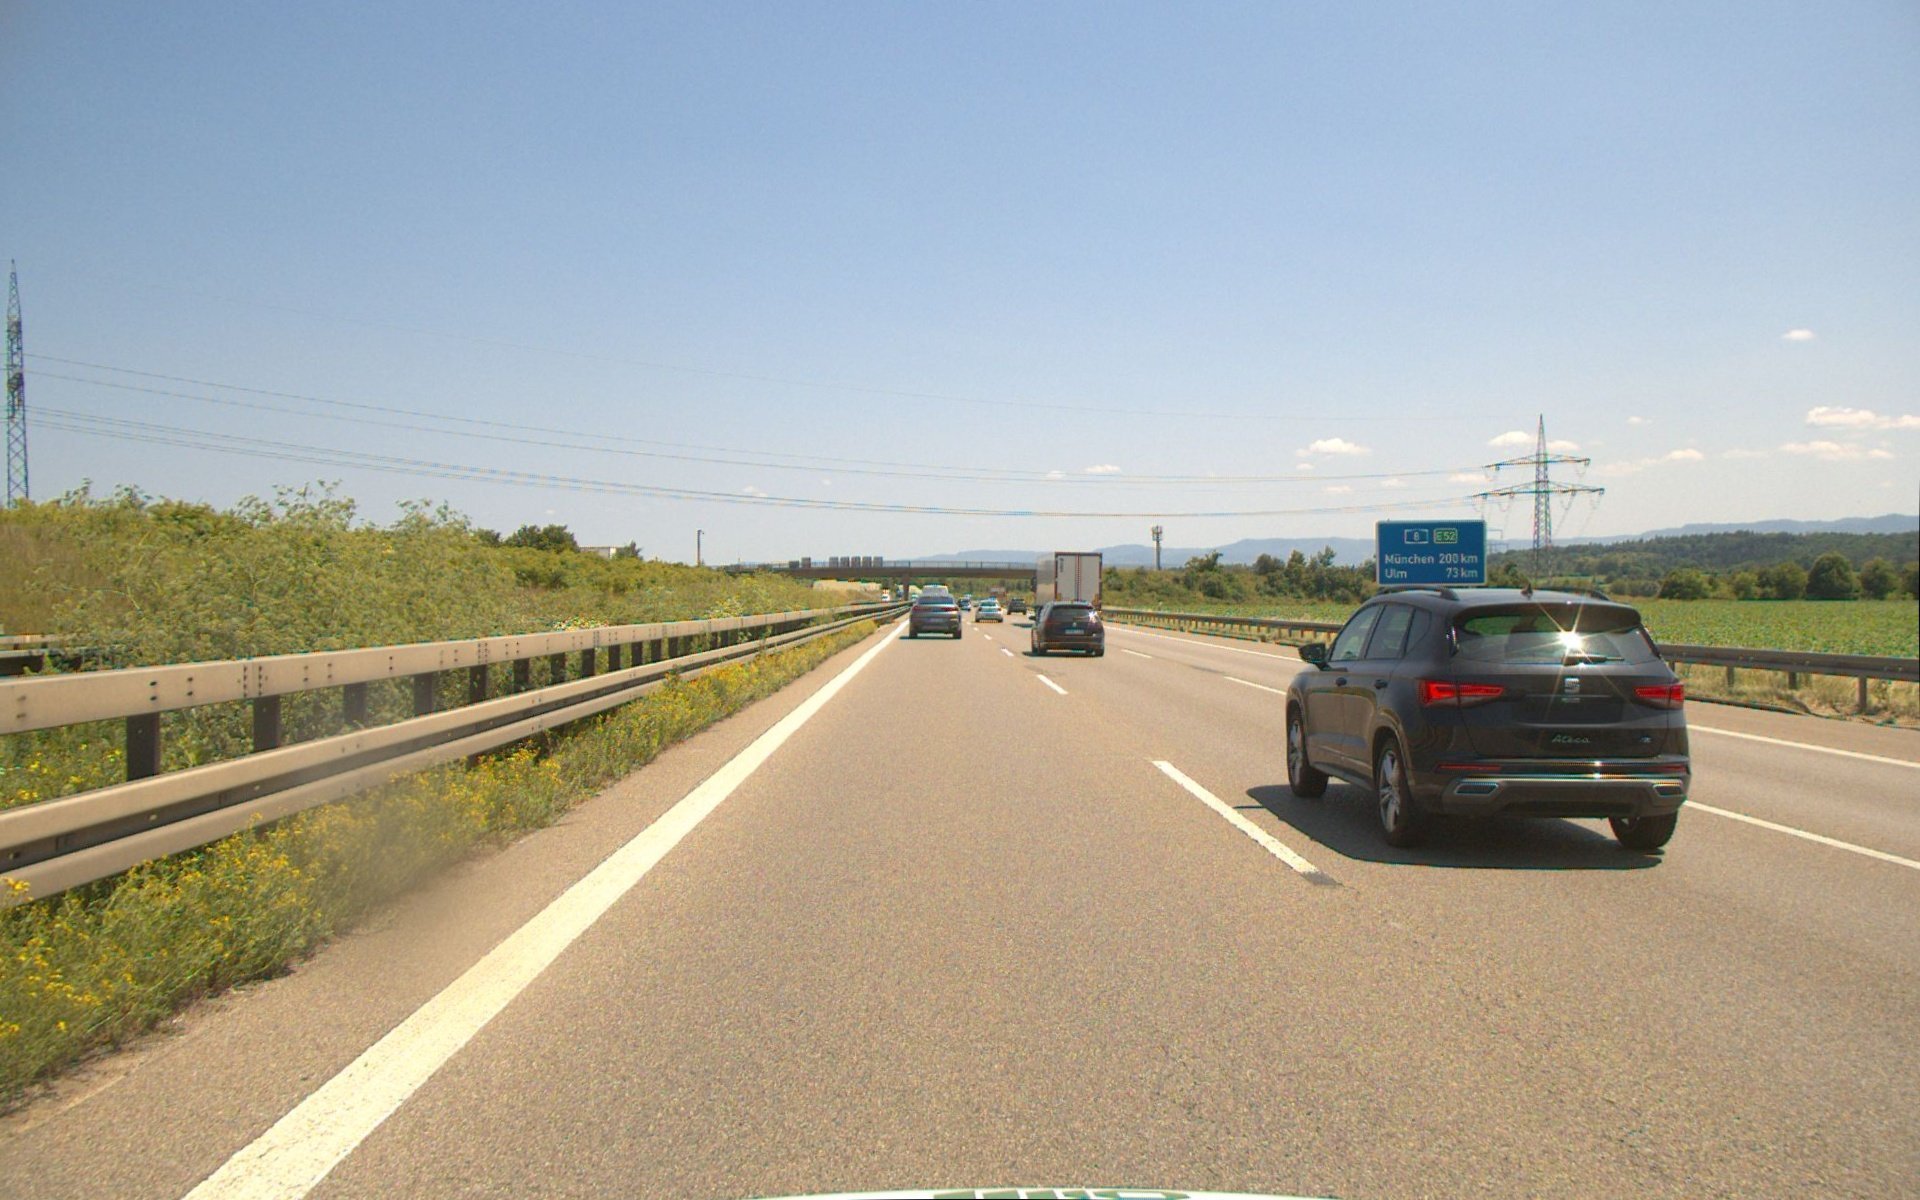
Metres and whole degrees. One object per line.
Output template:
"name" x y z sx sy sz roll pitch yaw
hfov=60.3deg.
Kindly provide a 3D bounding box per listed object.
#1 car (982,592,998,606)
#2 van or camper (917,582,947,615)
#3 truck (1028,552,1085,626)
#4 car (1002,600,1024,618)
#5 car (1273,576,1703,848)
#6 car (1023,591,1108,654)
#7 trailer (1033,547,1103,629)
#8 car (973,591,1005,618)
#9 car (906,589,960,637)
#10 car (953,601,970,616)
"car" 3.862 -0.155 216.186 1.953 1.712 3.999 1 0 -1
"van or camper" -1.958 -0.084 116.243 2.068 2.250 5.264 1 0 -1
"truck" 5.906 -0.640 101.989 2.918 4.301 7.686 1 0 -1
"car" 5.171 0.889 161.028 1.953 1.712 3.999 1 0 -1
"car" 3.510 0.674 11.766 1.760 1.589 3.822 1 0 -1
"car" 2.849 0.588 45.610 1.894 1.602 4.933 1 0 -1
"trailer" 6.038 -0.609 94.561 2.883 4.271 13.594 1 0 -1
"car" 1.874 0.291 107.884 1.953 1.712 3.999 1 0 -1
"car" -1.036 0.484 62.098 1.814 1.693 3.732 1 0 -4
"car" 0.168 0.943 195.218 1.953 1.712 3.999 1 0 -1
